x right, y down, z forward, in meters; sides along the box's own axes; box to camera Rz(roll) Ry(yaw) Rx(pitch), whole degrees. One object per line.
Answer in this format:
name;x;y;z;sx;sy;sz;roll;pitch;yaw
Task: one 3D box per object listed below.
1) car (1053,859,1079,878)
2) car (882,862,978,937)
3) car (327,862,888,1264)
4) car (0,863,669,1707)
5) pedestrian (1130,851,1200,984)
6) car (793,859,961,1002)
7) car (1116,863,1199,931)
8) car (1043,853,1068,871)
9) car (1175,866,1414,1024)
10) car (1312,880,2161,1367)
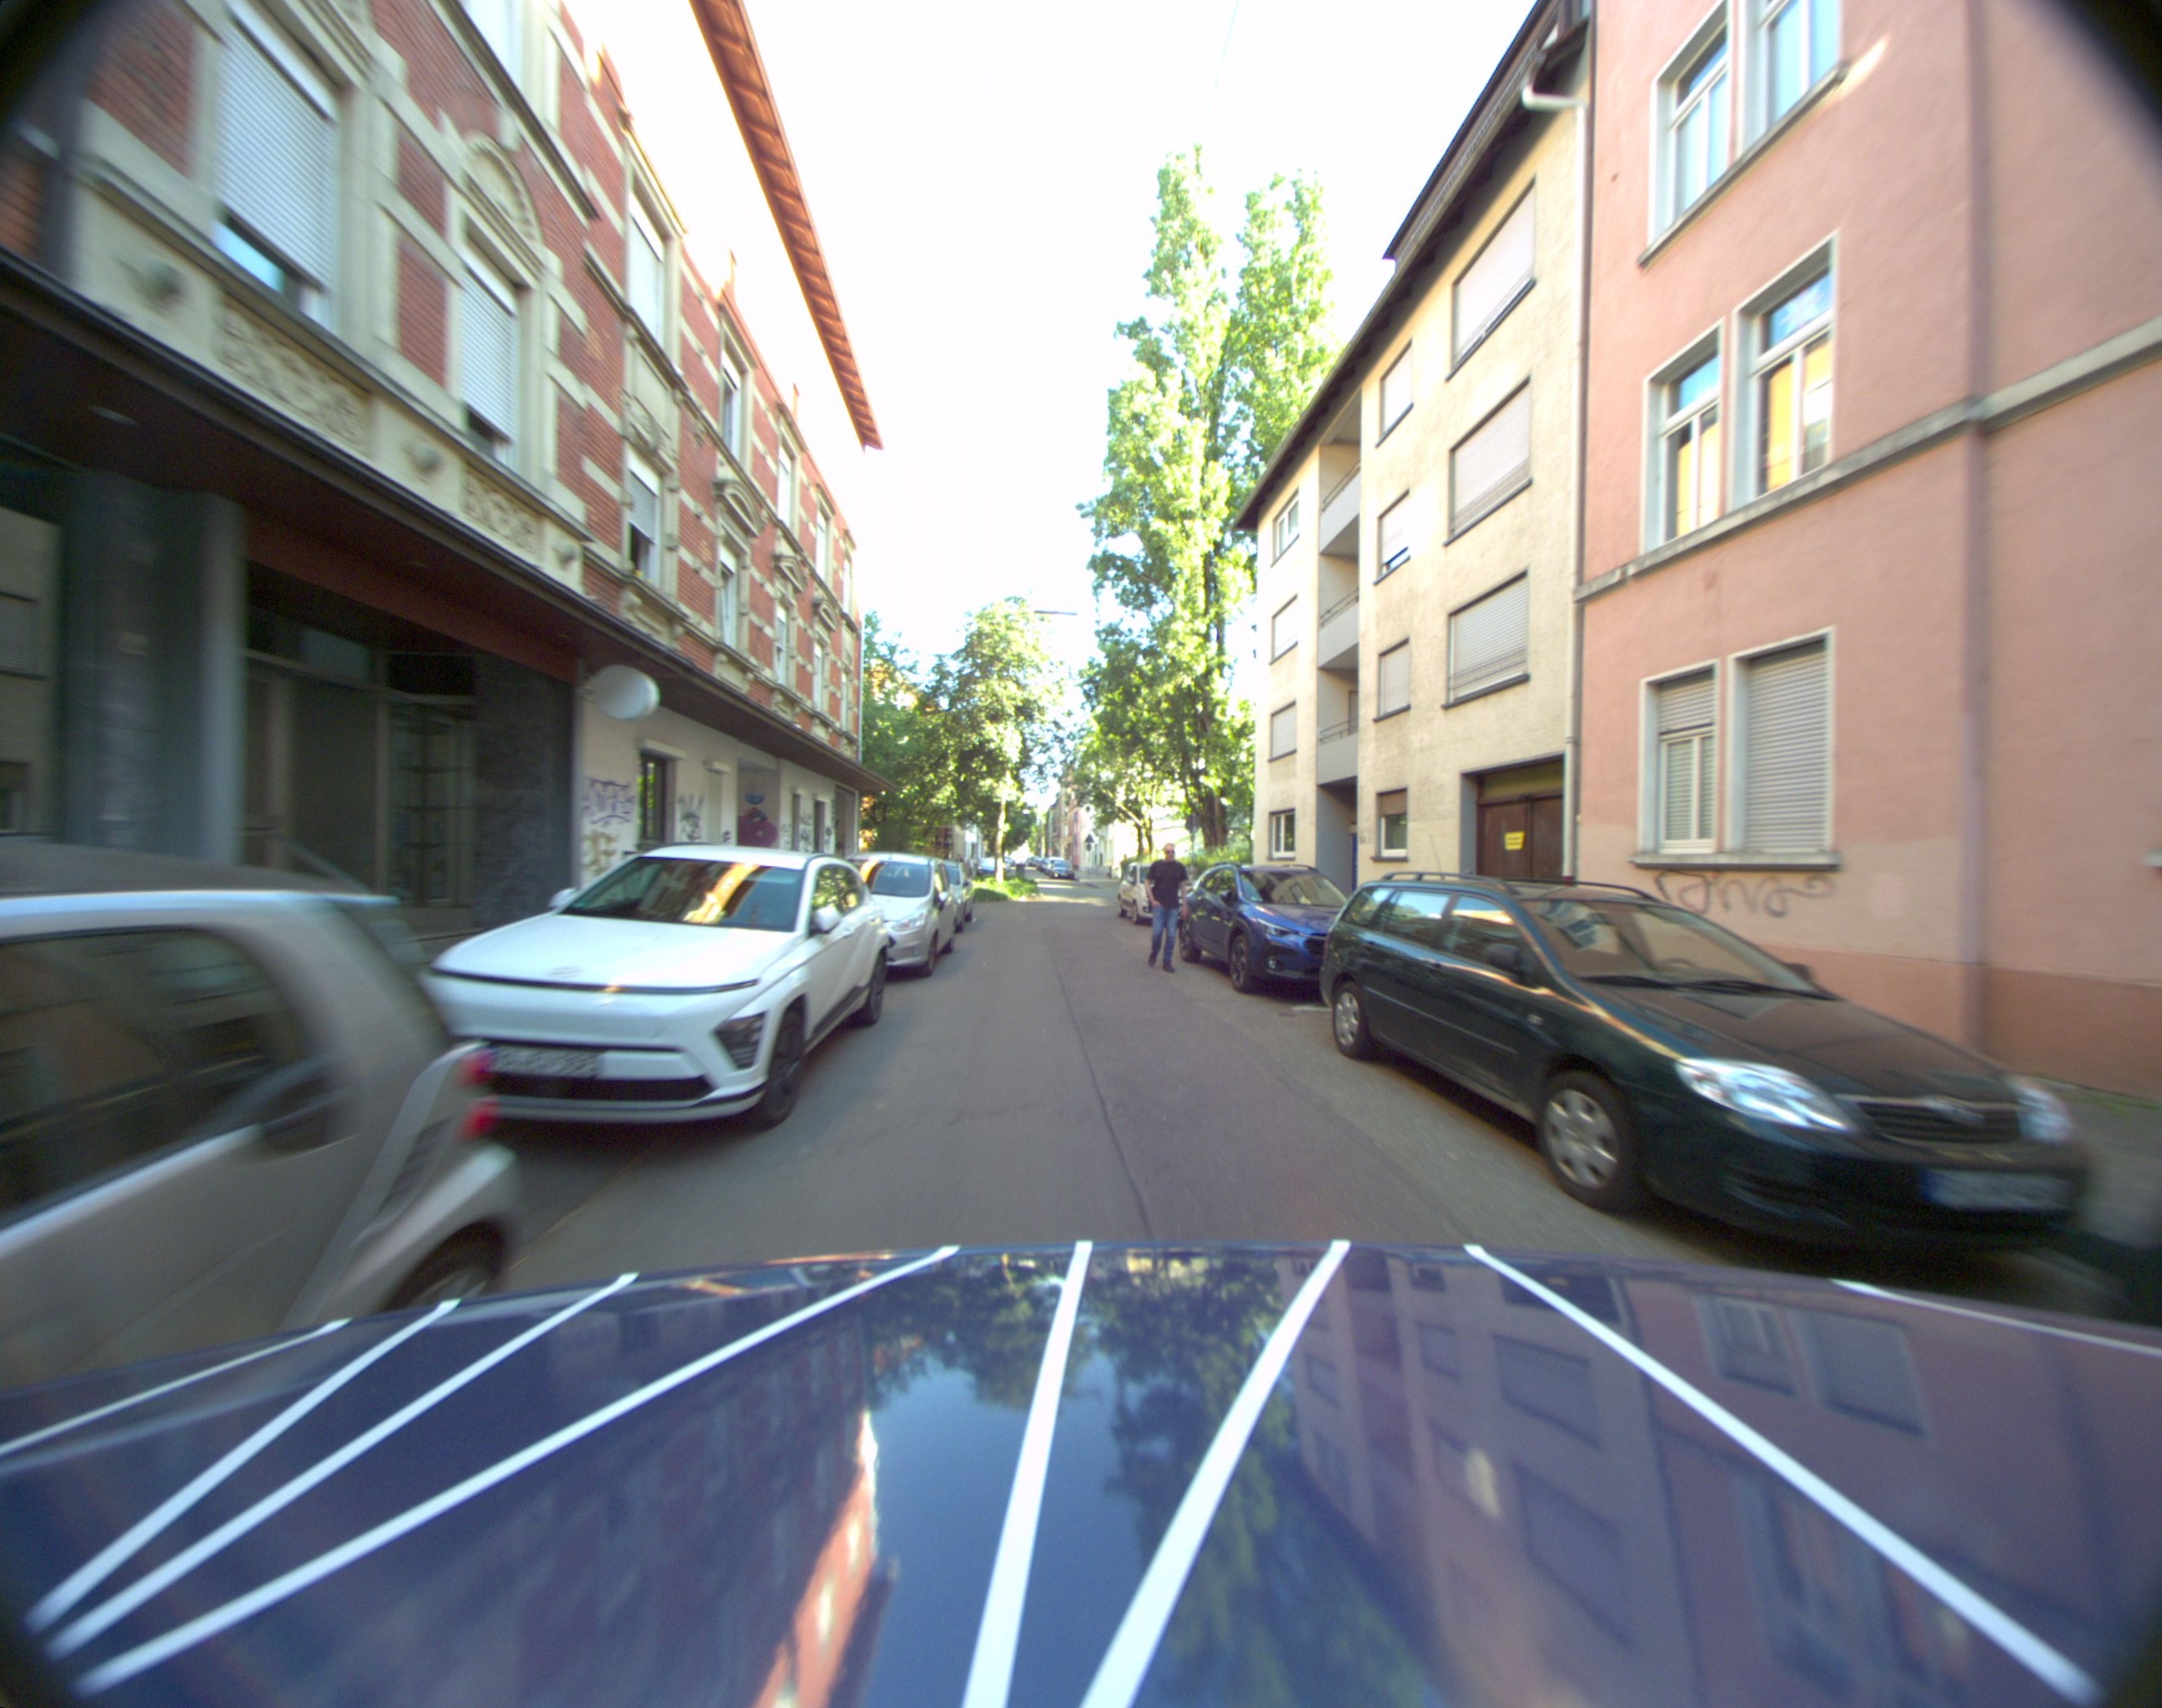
car;-1.230;1.122;59.835;1.760;1.293;4.247;2;0;-4
car;-3.326;0.935;17.413;1.647;1.442;4.164;-1;0;-4
car;-2.553;0.920;5.341;1.604;1.652;4.058;-1;0;-4
car;-2.320;0.880;1.179;1.526;1.525;3.462;7;0;-4
pedestrian;1.147;0.847;10.606;0.740;1.743;0.997;2;0;-4
car;-2.698;0.909;10.864;1.604;1.626;3.773;-1;0;-4
car;1.863;1.028;19.560;1.465;1.512;3.659;2;0;-4
car;-2.432;0.714;71.057;2.169;1.508;5.374;2;0;-3
car;2.507;0.994;10.084;1.647;1.565;4.247;2;0;-4
car;2.969;0.983;4.588;1.647;1.483;3.998;1;0;-4
